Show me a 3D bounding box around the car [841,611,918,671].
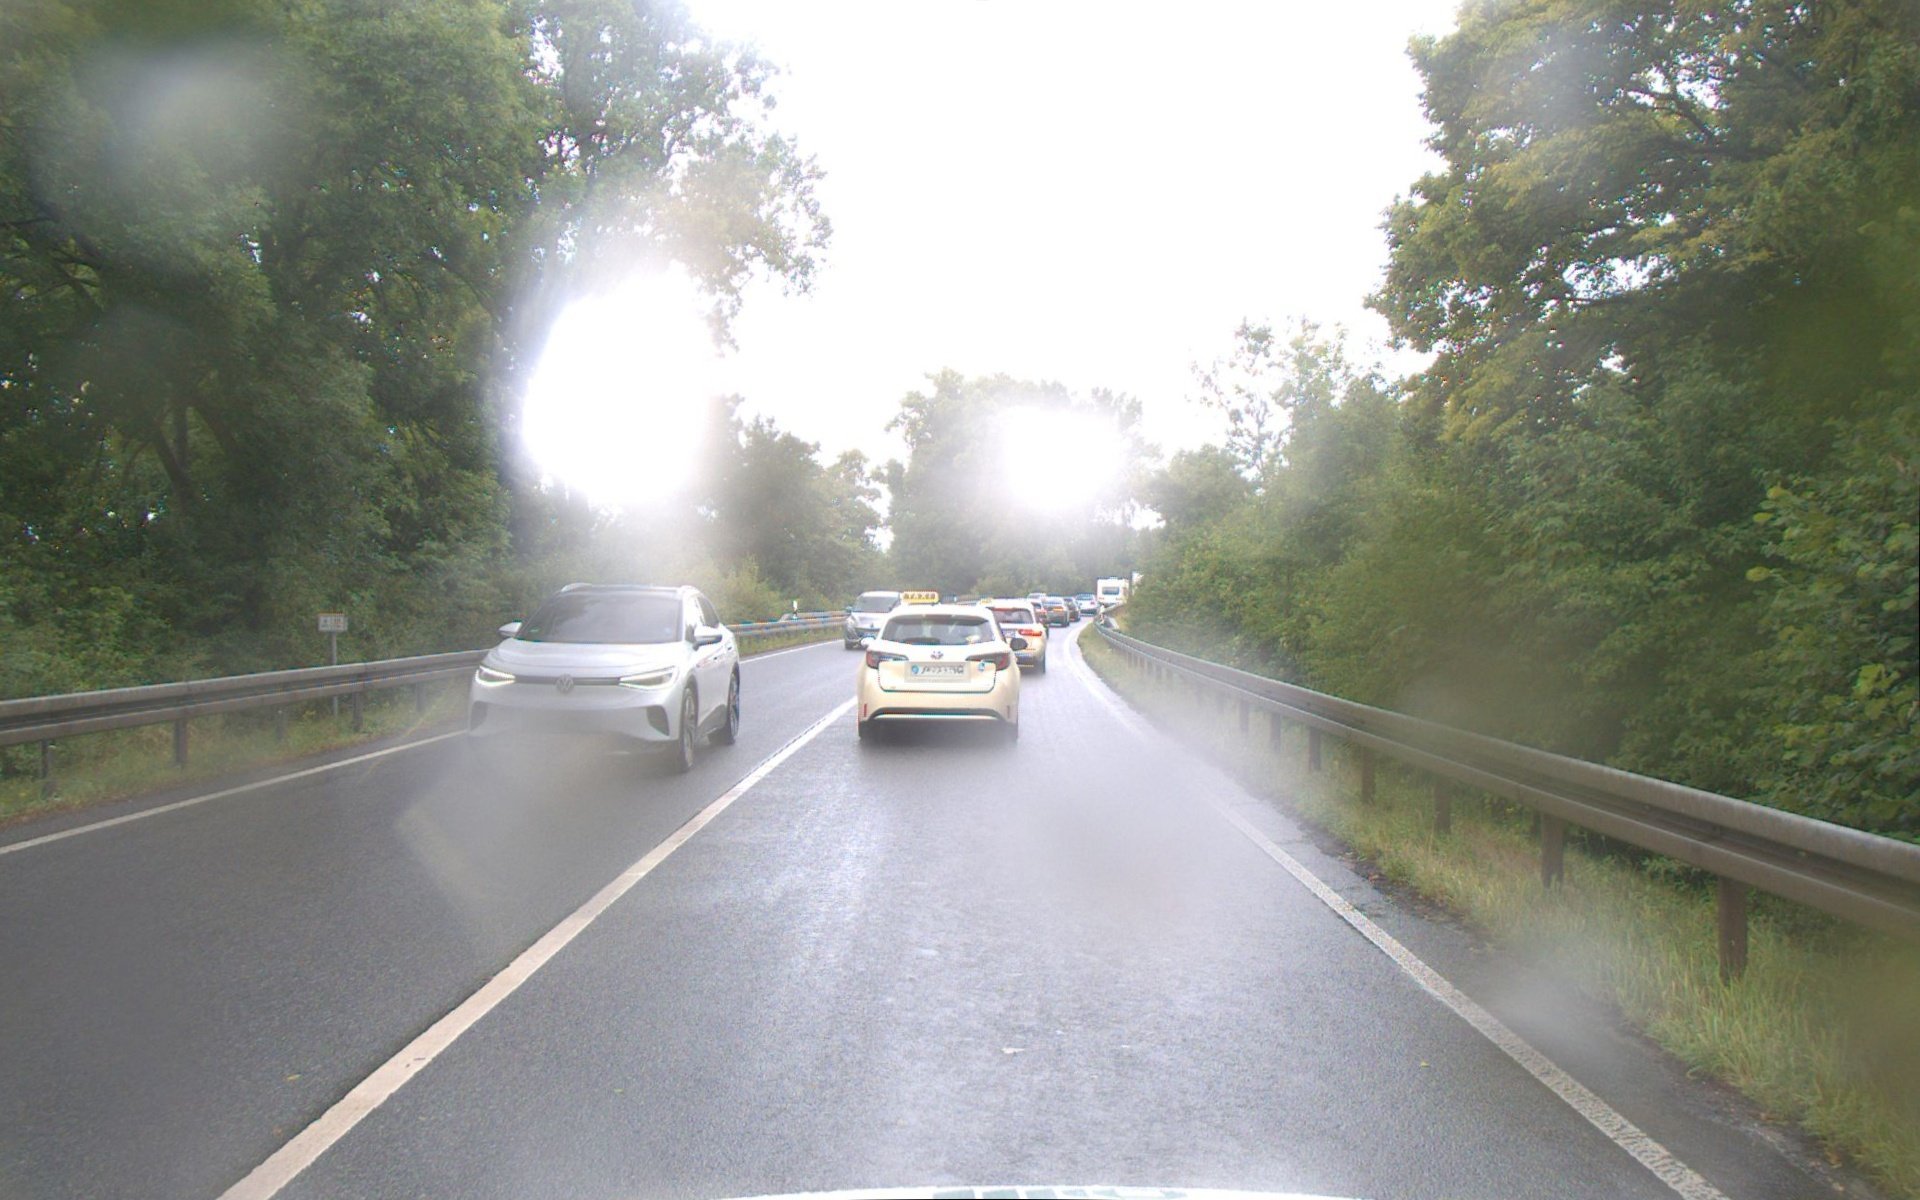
[{"bbox_3d":[-2.298,1.146,48.301,1.657,1.601,4.377,1,0,5],"label":"car"}]

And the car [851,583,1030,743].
[{"bbox_3d":[-0.152,0.672,18.896,1.796,1.608,4.157,1,-1,1],"label":"car"}]

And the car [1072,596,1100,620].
[{"bbox_3d":[8.855,0.573,115.926,1.732,1.574,3.816,0,-1,7],"label":"car"}]

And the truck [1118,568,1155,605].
[{"bbox_3d":[18.349,-1.363,171.719,3.041,3.745,7.005,0,-1,12],"label":"truck"}]

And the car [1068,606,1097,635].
[{"bbox_3d":[7.169,1.217,96.537,1.582,1.641,3.623,1,-1,5],"label":"car"}]

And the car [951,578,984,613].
[{"bbox_3d":[0.493,-0.265,103.618,1.952,2.049,4.001,1,-1,2],"label":"car"}]

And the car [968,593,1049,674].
[{"bbox_3d":[1.096,0.707,35.535,1.632,1.608,3.893,1,-1,3],"label":"car"}]

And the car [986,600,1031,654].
[{"bbox_3d":[1.443,0.803,49.909,1.274,1.574,3.260,1,-1,1],"label":"car"}]

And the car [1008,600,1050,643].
[{"bbox_3d":[2.628,0.836,63.421,1.578,1.574,3.814,0,-2,2],"label":"car"}]

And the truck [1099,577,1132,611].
[{"bbox_3d":[13.457,-0.496,143.281,2.496,2.760,7.537,1,-1,3],"label":"truck"}]

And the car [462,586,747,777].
[{"bbox_3d":[-3.167,0.664,15.582,1.770,1.559,4.206,0,0,0],"label":"car"}]

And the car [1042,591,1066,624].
[{"bbox_3d":[4.699,0.392,82.871,1.142,1.574,2.605,1,-1,4],"label":"car"}]
